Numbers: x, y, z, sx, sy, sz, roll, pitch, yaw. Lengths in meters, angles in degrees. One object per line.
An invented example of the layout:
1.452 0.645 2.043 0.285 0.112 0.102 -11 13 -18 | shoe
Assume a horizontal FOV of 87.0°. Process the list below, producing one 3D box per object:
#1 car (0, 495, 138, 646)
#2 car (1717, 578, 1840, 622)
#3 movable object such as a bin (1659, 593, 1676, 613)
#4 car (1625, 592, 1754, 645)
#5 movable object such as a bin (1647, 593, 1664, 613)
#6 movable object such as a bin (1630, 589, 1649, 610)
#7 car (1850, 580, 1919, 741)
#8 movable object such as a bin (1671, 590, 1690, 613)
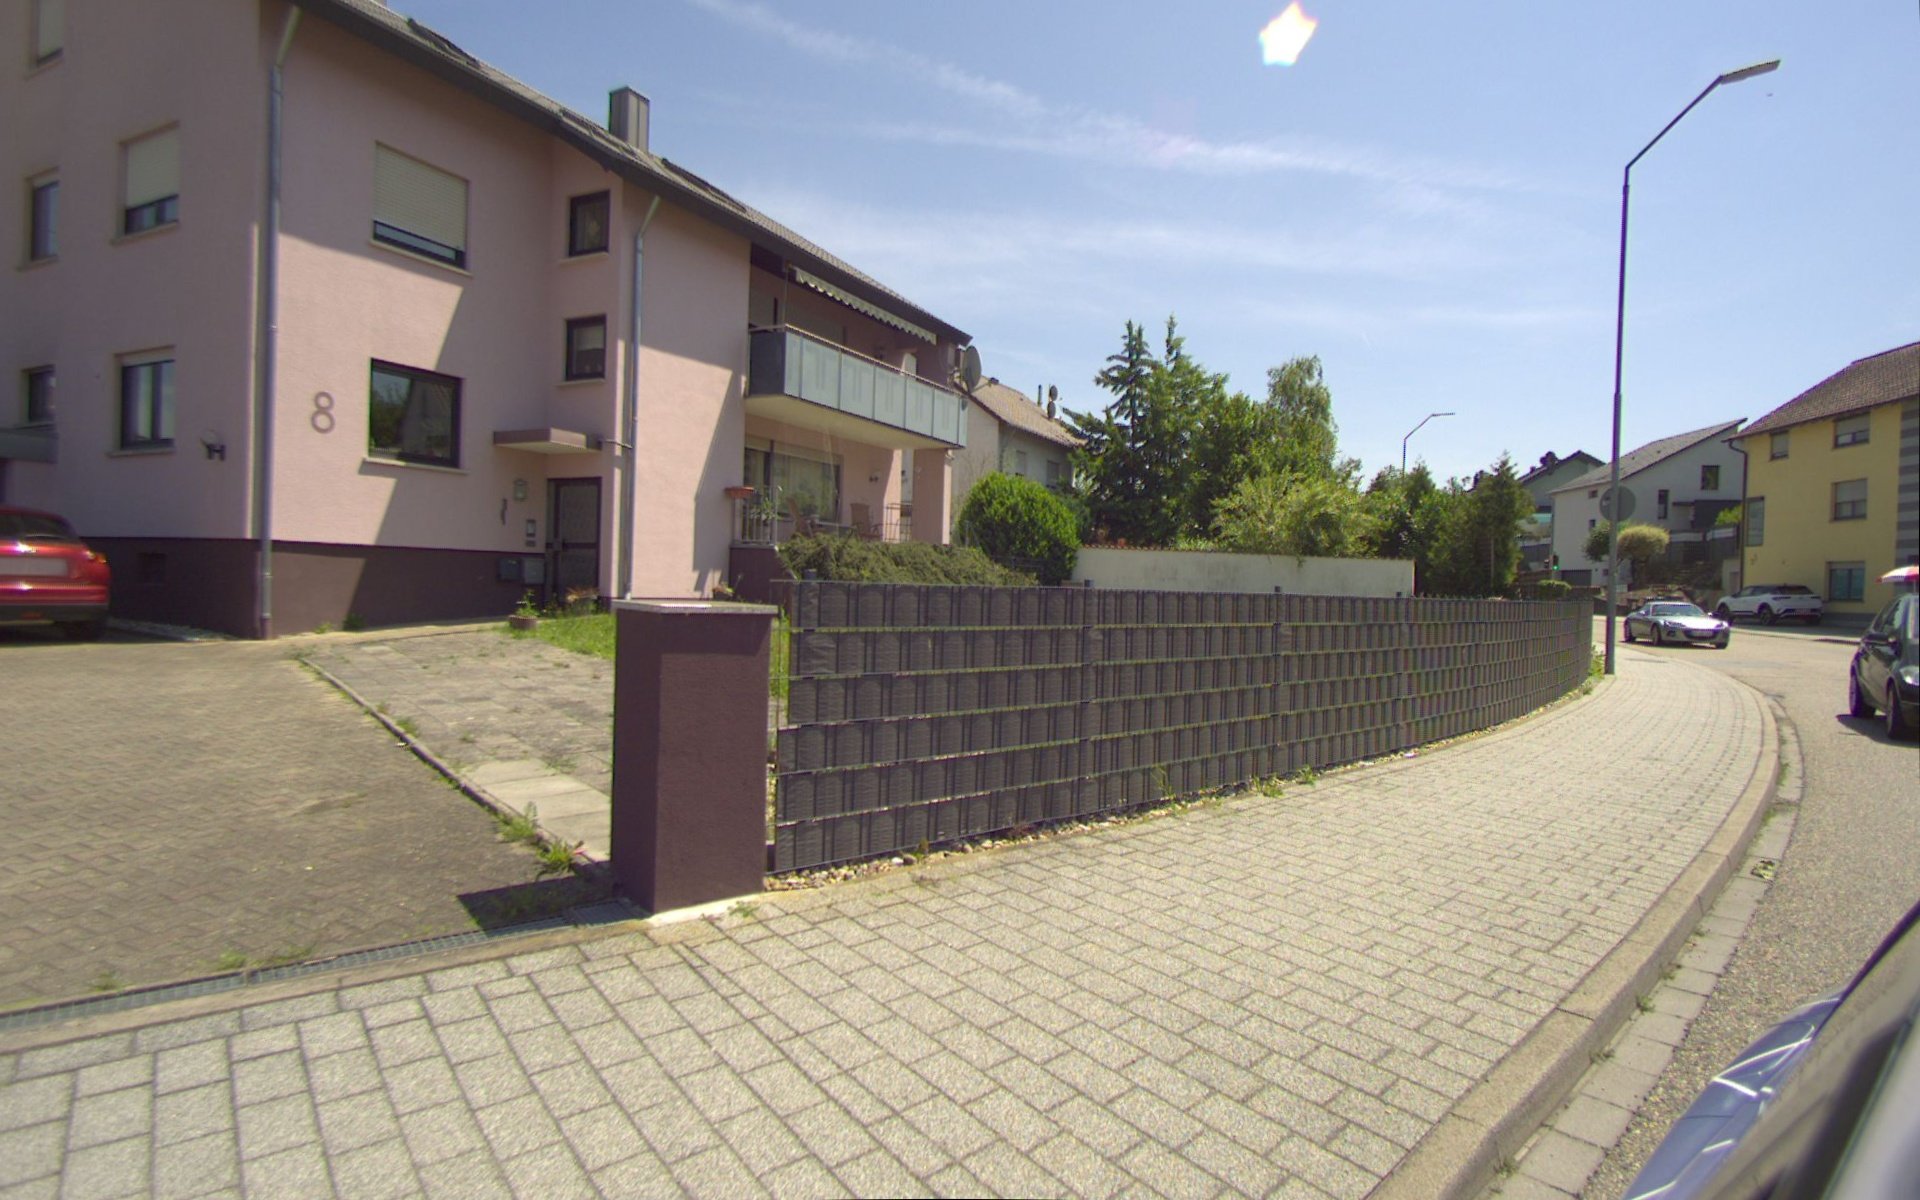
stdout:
-11.650 -0.356 11.657 4.083 1.567 1.835 1 1 26 | car
31.065 -0.056 38.566 1.707 1.571 4.179 1 1 8 | car
33.156 0.134 47.453 0.441 0.950 0.530 1 1 7 | movable object such as a bin
20.748 0.481 28.987 1.790 1.330 3.978 1 1 17 | car
32.651 0.141 47.495 0.441 0.940 0.561 1 1 7 | movable object such as a bin
31.968 -0.041 47.618 0.494 0.960 0.553 1 1 7 | movable object such as a bin
11.473 0.588 11.370 1.755 1.612 4.145 1 2 35 | car
33.683 0.066 47.306 0.464 1.068 0.633 0 1 7 | movable object such as a bin
